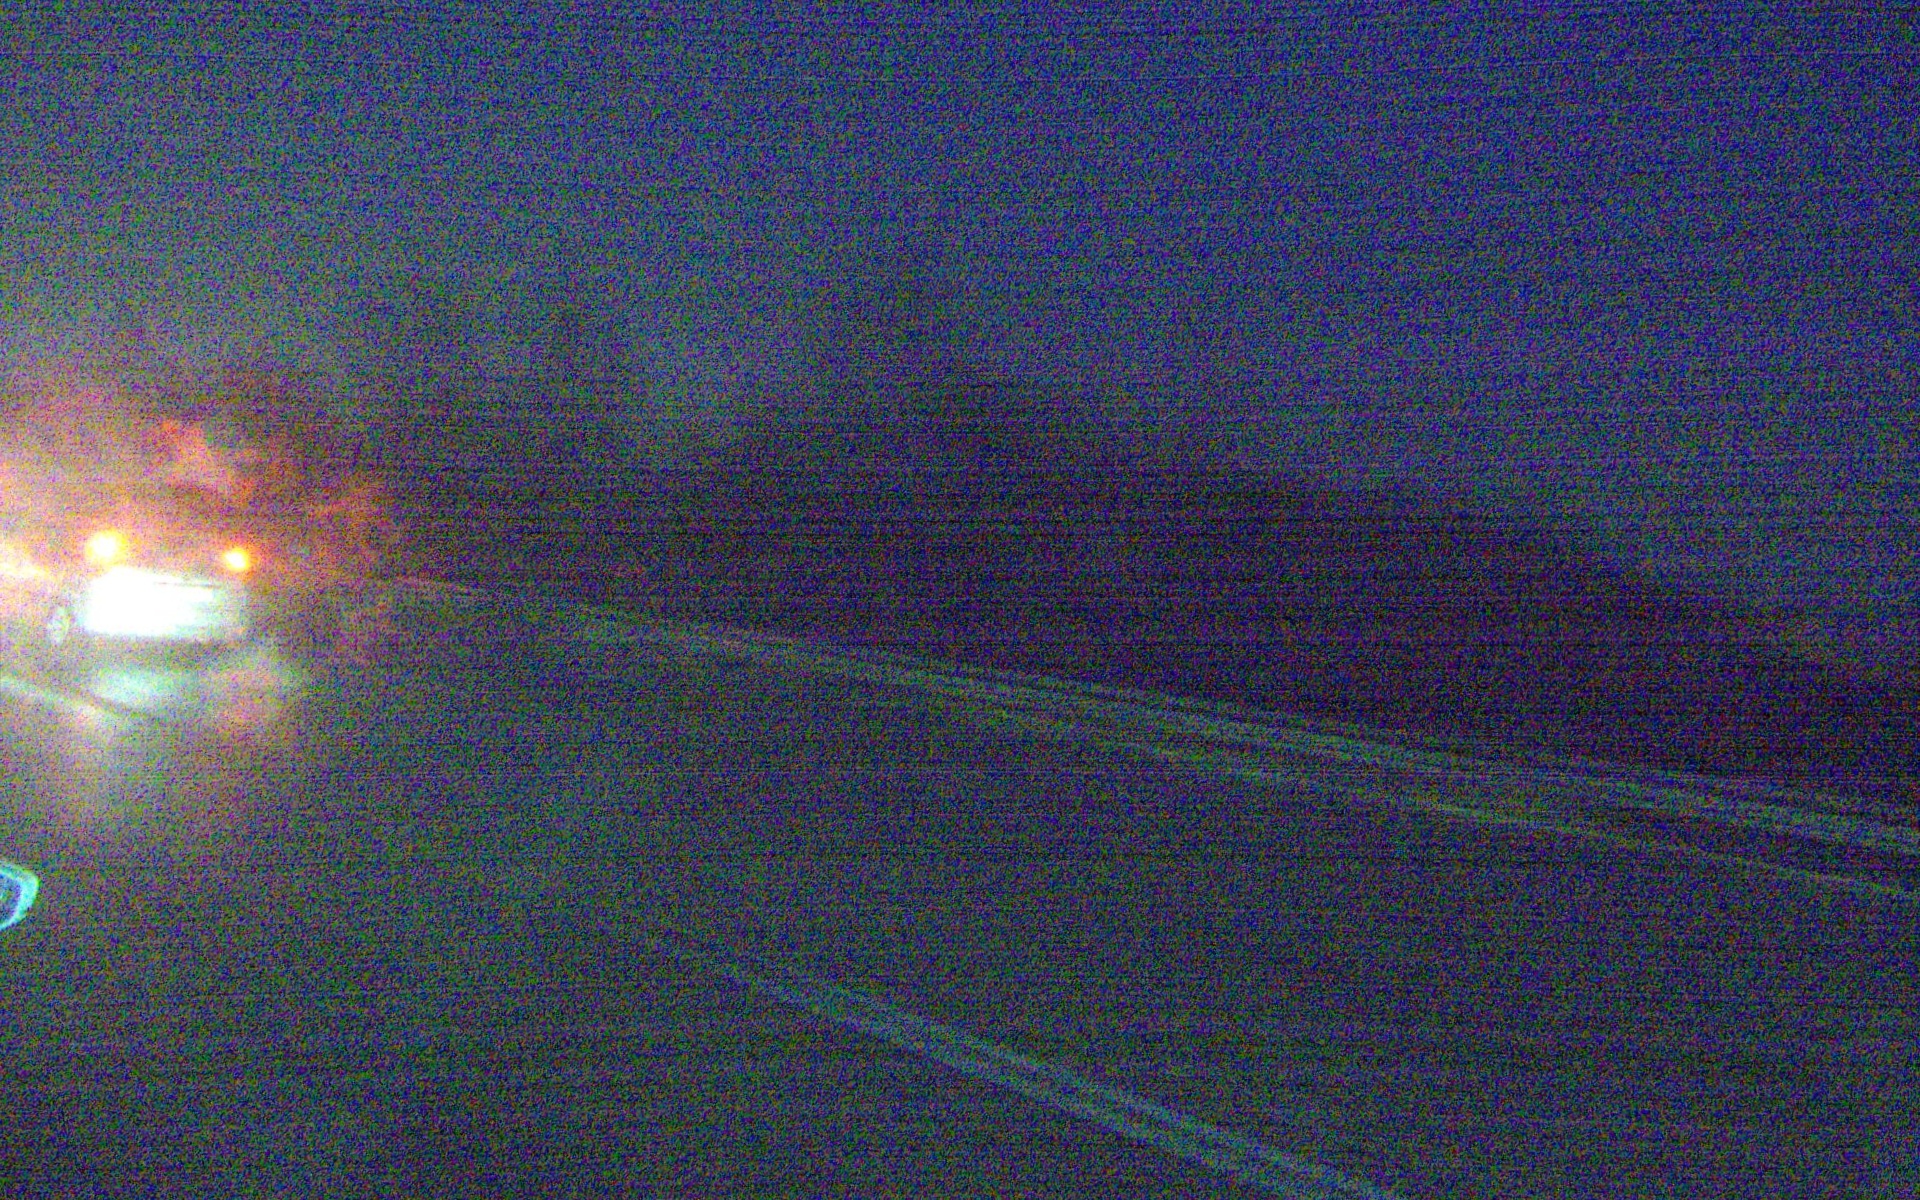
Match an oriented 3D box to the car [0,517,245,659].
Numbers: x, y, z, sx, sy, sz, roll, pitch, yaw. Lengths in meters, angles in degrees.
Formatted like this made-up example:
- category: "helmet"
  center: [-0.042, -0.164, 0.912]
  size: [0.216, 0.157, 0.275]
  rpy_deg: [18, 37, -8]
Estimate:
- category: "car"
  center: [-9.984, -0.175, 11.525]
  size: [3.014, 1.260, 1.585]
  rpy_deg: [7, -1, 26]
